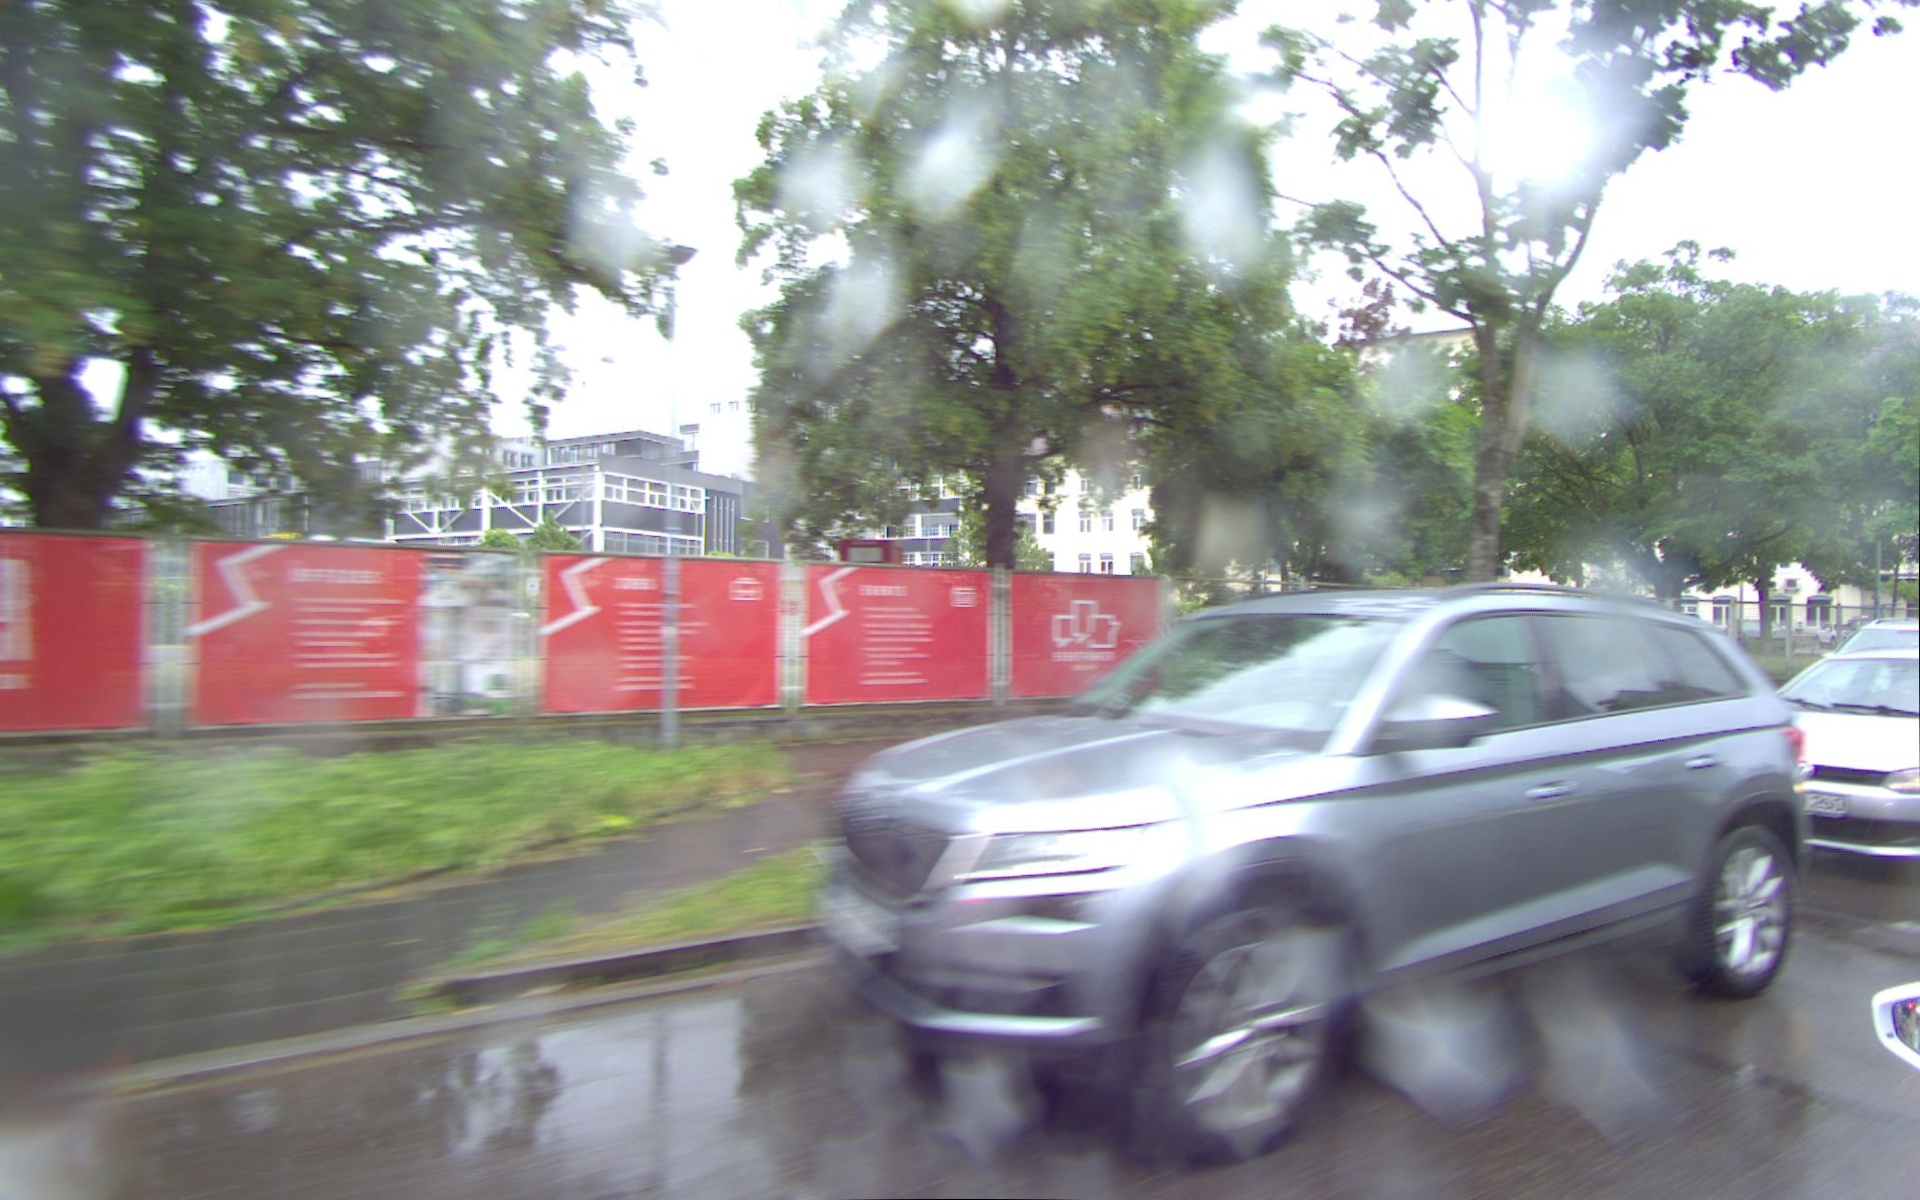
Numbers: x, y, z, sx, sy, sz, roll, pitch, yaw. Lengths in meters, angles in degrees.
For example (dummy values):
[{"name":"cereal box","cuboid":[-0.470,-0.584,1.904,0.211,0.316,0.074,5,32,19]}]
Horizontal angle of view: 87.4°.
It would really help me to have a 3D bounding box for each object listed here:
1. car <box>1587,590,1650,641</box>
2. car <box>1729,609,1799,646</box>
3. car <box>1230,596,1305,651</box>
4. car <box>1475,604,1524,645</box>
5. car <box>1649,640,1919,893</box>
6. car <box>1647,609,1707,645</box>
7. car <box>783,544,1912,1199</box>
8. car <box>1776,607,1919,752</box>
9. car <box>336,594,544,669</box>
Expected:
[{"name":"car","cuboid":[29.199,0.683,44.659,1.963,2.150,3.994,1,0,28]},{"name":"car","cuboid":[33.800,1.146,42.311,1.679,1.453,3.644,1,0,29]},{"name":"car","cuboid":[9.744,0.754,31.625,1.961,1.578,4.000,1,-2,21]},{"name":"car","cuboid":[25.424,1.147,47.432,1.899,1.809,3.995,1,0,27]},{"name":"car","cuboid":[7.051,1.007,7.222,4.196,1.401,1.667,1,-1,-27]},{"name":"car","cuboid":[31.041,1.162,43.559,1.679,1.453,3.644,1,0,29]},{"name":"car","cuboid":[1.841,0.758,4.319,4.762,1.661,1.906,2,0,-29]},{"name":"car","cuboid":[13.351,0.997,13.796,4.546,1.702,1.767,1,2,-30]},{"name":"car","cuboid":[-12.103,0.720,23.625,1.772,1.604,3.989,0,-1,33]}]
